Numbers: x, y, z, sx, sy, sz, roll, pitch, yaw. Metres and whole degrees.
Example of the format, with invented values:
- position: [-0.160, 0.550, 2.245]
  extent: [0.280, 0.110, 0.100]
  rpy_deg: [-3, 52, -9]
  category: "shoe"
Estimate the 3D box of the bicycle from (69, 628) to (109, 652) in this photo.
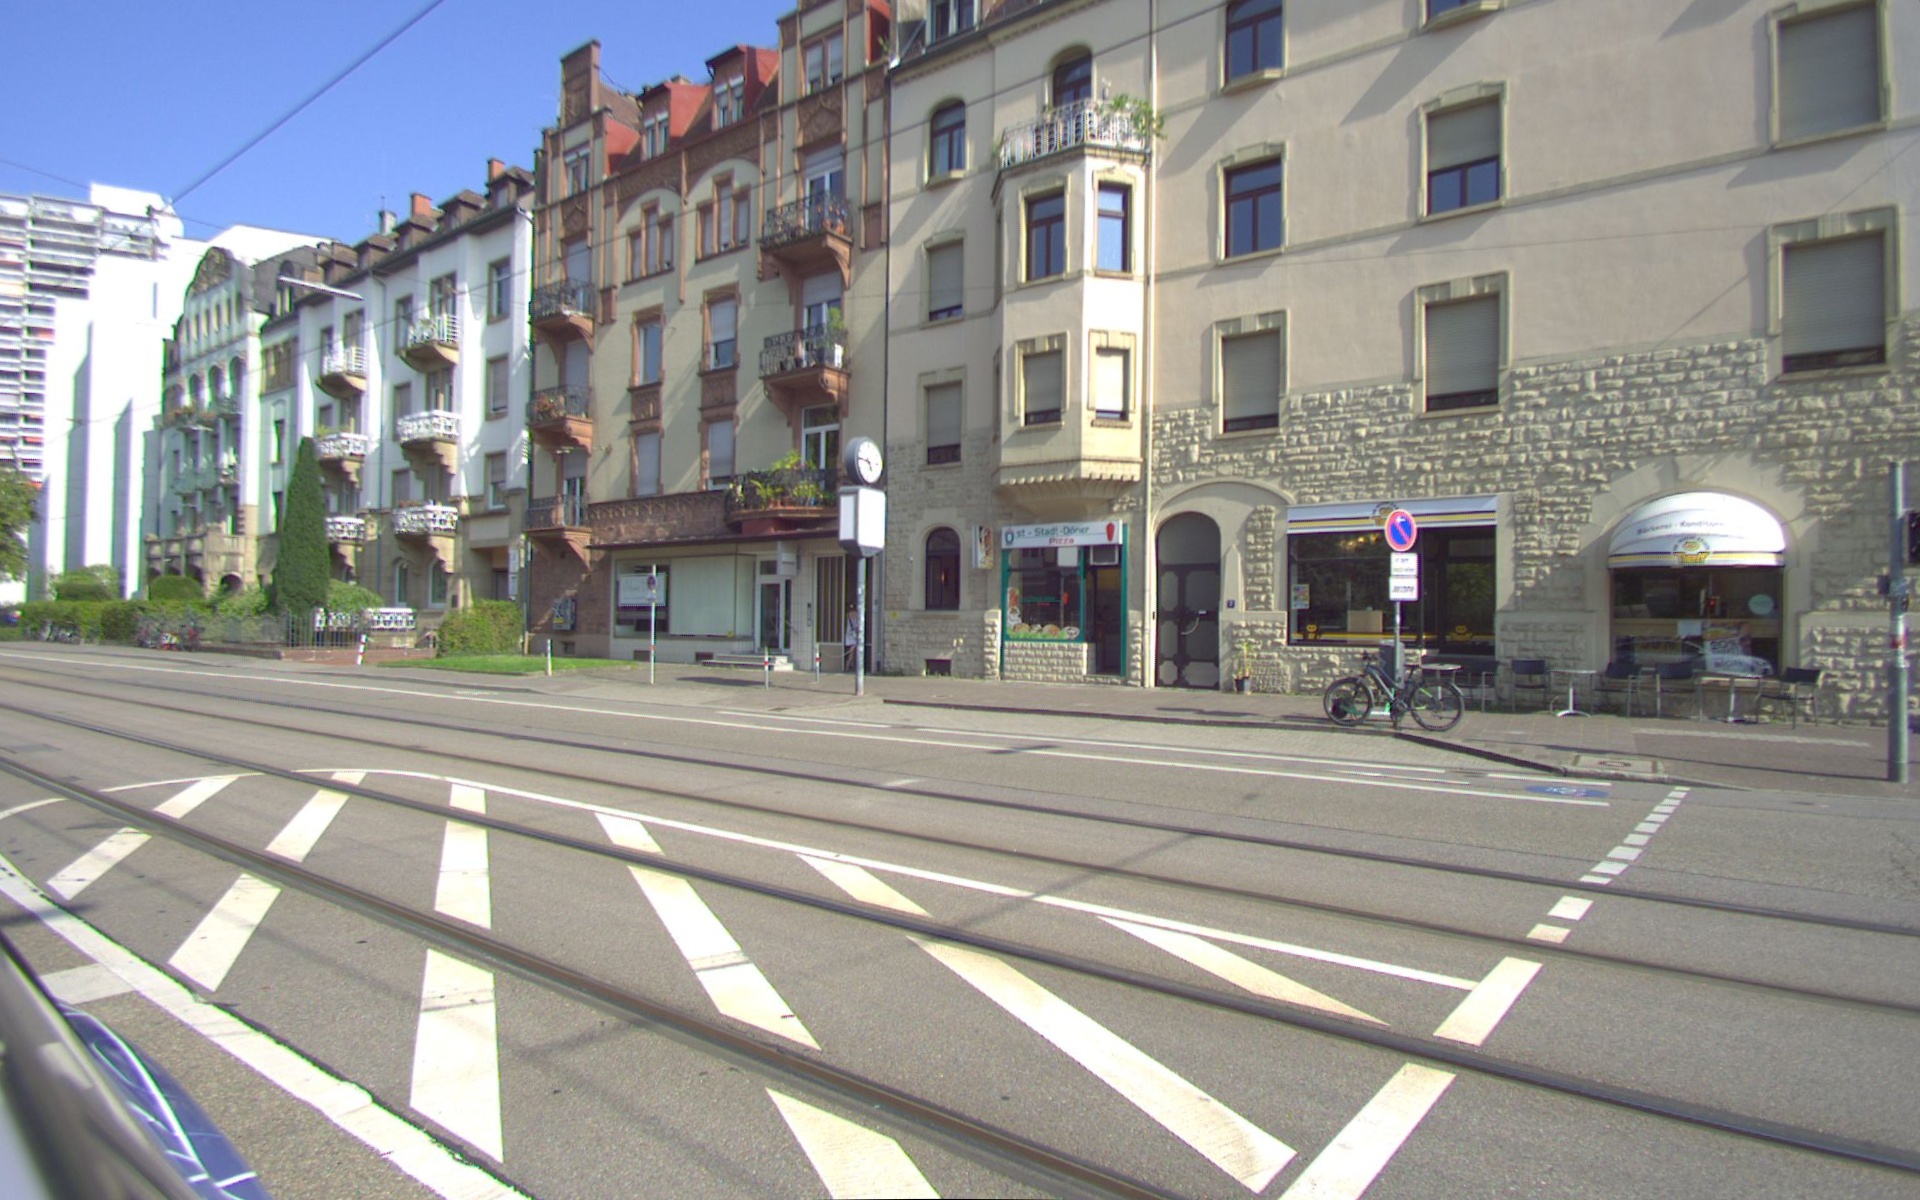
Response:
- position: [-40.606, 1.842, 47.191]
  extent: [0.422, 1.096, 1.387]
  rpy_deg: [0, -2, 19]
  category: "bicycle"

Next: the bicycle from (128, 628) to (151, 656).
- position: [-33.635, 1.716, 41.490]
  extent: [1.352, 1.096, 0.367]
  rpy_deg: [-1, -3, 36]
  category: "bicycle"

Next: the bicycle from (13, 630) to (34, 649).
- position: [-48.357, 2.034, 52.237]
  extent: [1.766, 0.985, 0.421]
  rpy_deg: [-1, -3, 36]
  category: "bicycle"

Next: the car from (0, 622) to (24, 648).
- position: [-58.152, 2.067, 60.091]
  extent: [1.744, 1.539, 4.006]
  rpy_deg: [1, -2, -8]
  category: "car"

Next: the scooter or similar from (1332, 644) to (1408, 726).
- position: [6.178, 1.273, 15.263]
  extent: [1.017, 1.206, 0.367]
  rpy_deg: [1, -2, -9]
  category: "scooter or similar"

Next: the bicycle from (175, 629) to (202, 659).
- position: [-28.677, 1.637, 37.609]
  extent: [1.485, 1.096, 0.367]
  rpy_deg: [-1, -3, 36]
  category: "bicycle"

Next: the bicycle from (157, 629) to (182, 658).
- position: [-30.146, 1.649, 38.602]
  extent: [1.352, 1.096, 0.367]
  rpy_deg: [-1, -3, 36]
  category: "bicycle"

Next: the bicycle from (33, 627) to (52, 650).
- position: [-45.626, 1.901, 50.340]
  extent: [1.674, 1.096, 0.420]
  rpy_deg: [-1, -3, 39]
  category: "bicycle"

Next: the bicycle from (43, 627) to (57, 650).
- position: [-44.092, 1.876, 49.038]
  extent: [0.419, 1.096, 1.677]
  rpy_deg: [3, -3, -44]
  category: "bicycle"

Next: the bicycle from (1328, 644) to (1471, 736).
- position: [6.265, 1.257, 14.480]
  extent: [1.848, 1.236, 0.450]
  rpy_deg: [-1, -2, 28]
  category: "bicycle"

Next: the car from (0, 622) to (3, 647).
- position: [-60.625, 2.094, 61.517]
  extent: [1.743, 1.539, 4.010]
  rpy_deg: [1, -2, -12]
  category: "car"

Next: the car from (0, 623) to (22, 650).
- position: [-55.534, 2.038, 57.266]
  extent: [1.743, 1.539, 4.010]
  rpy_deg: [1, -2, -12]
  category: "car"

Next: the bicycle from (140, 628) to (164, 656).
- position: [-32.250, 1.683, 40.389]
  extent: [1.352, 1.096, 0.367]
  rpy_deg: [-1, -3, 36]
  category: "bicycle"

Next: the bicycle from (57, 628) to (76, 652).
- position: [-41.770, 1.866, 47.297]
  extent: [1.675, 1.096, 0.420]
  rpy_deg: [-1, -3, 41]
  category: "bicycle"

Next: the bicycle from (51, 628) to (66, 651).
- position: [-43.357, 1.882, 48.673]
  extent: [0.419, 1.096, 1.677]
  rpy_deg: [3, -3, -44]
  category: "bicycle"

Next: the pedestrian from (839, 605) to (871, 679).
- position: [-2.739, 1.081, 26.324]
  extent: [0.764, 1.874, 0.832]
  rpy_deg: [1, -2, -7]
  category: "pedestrian"
